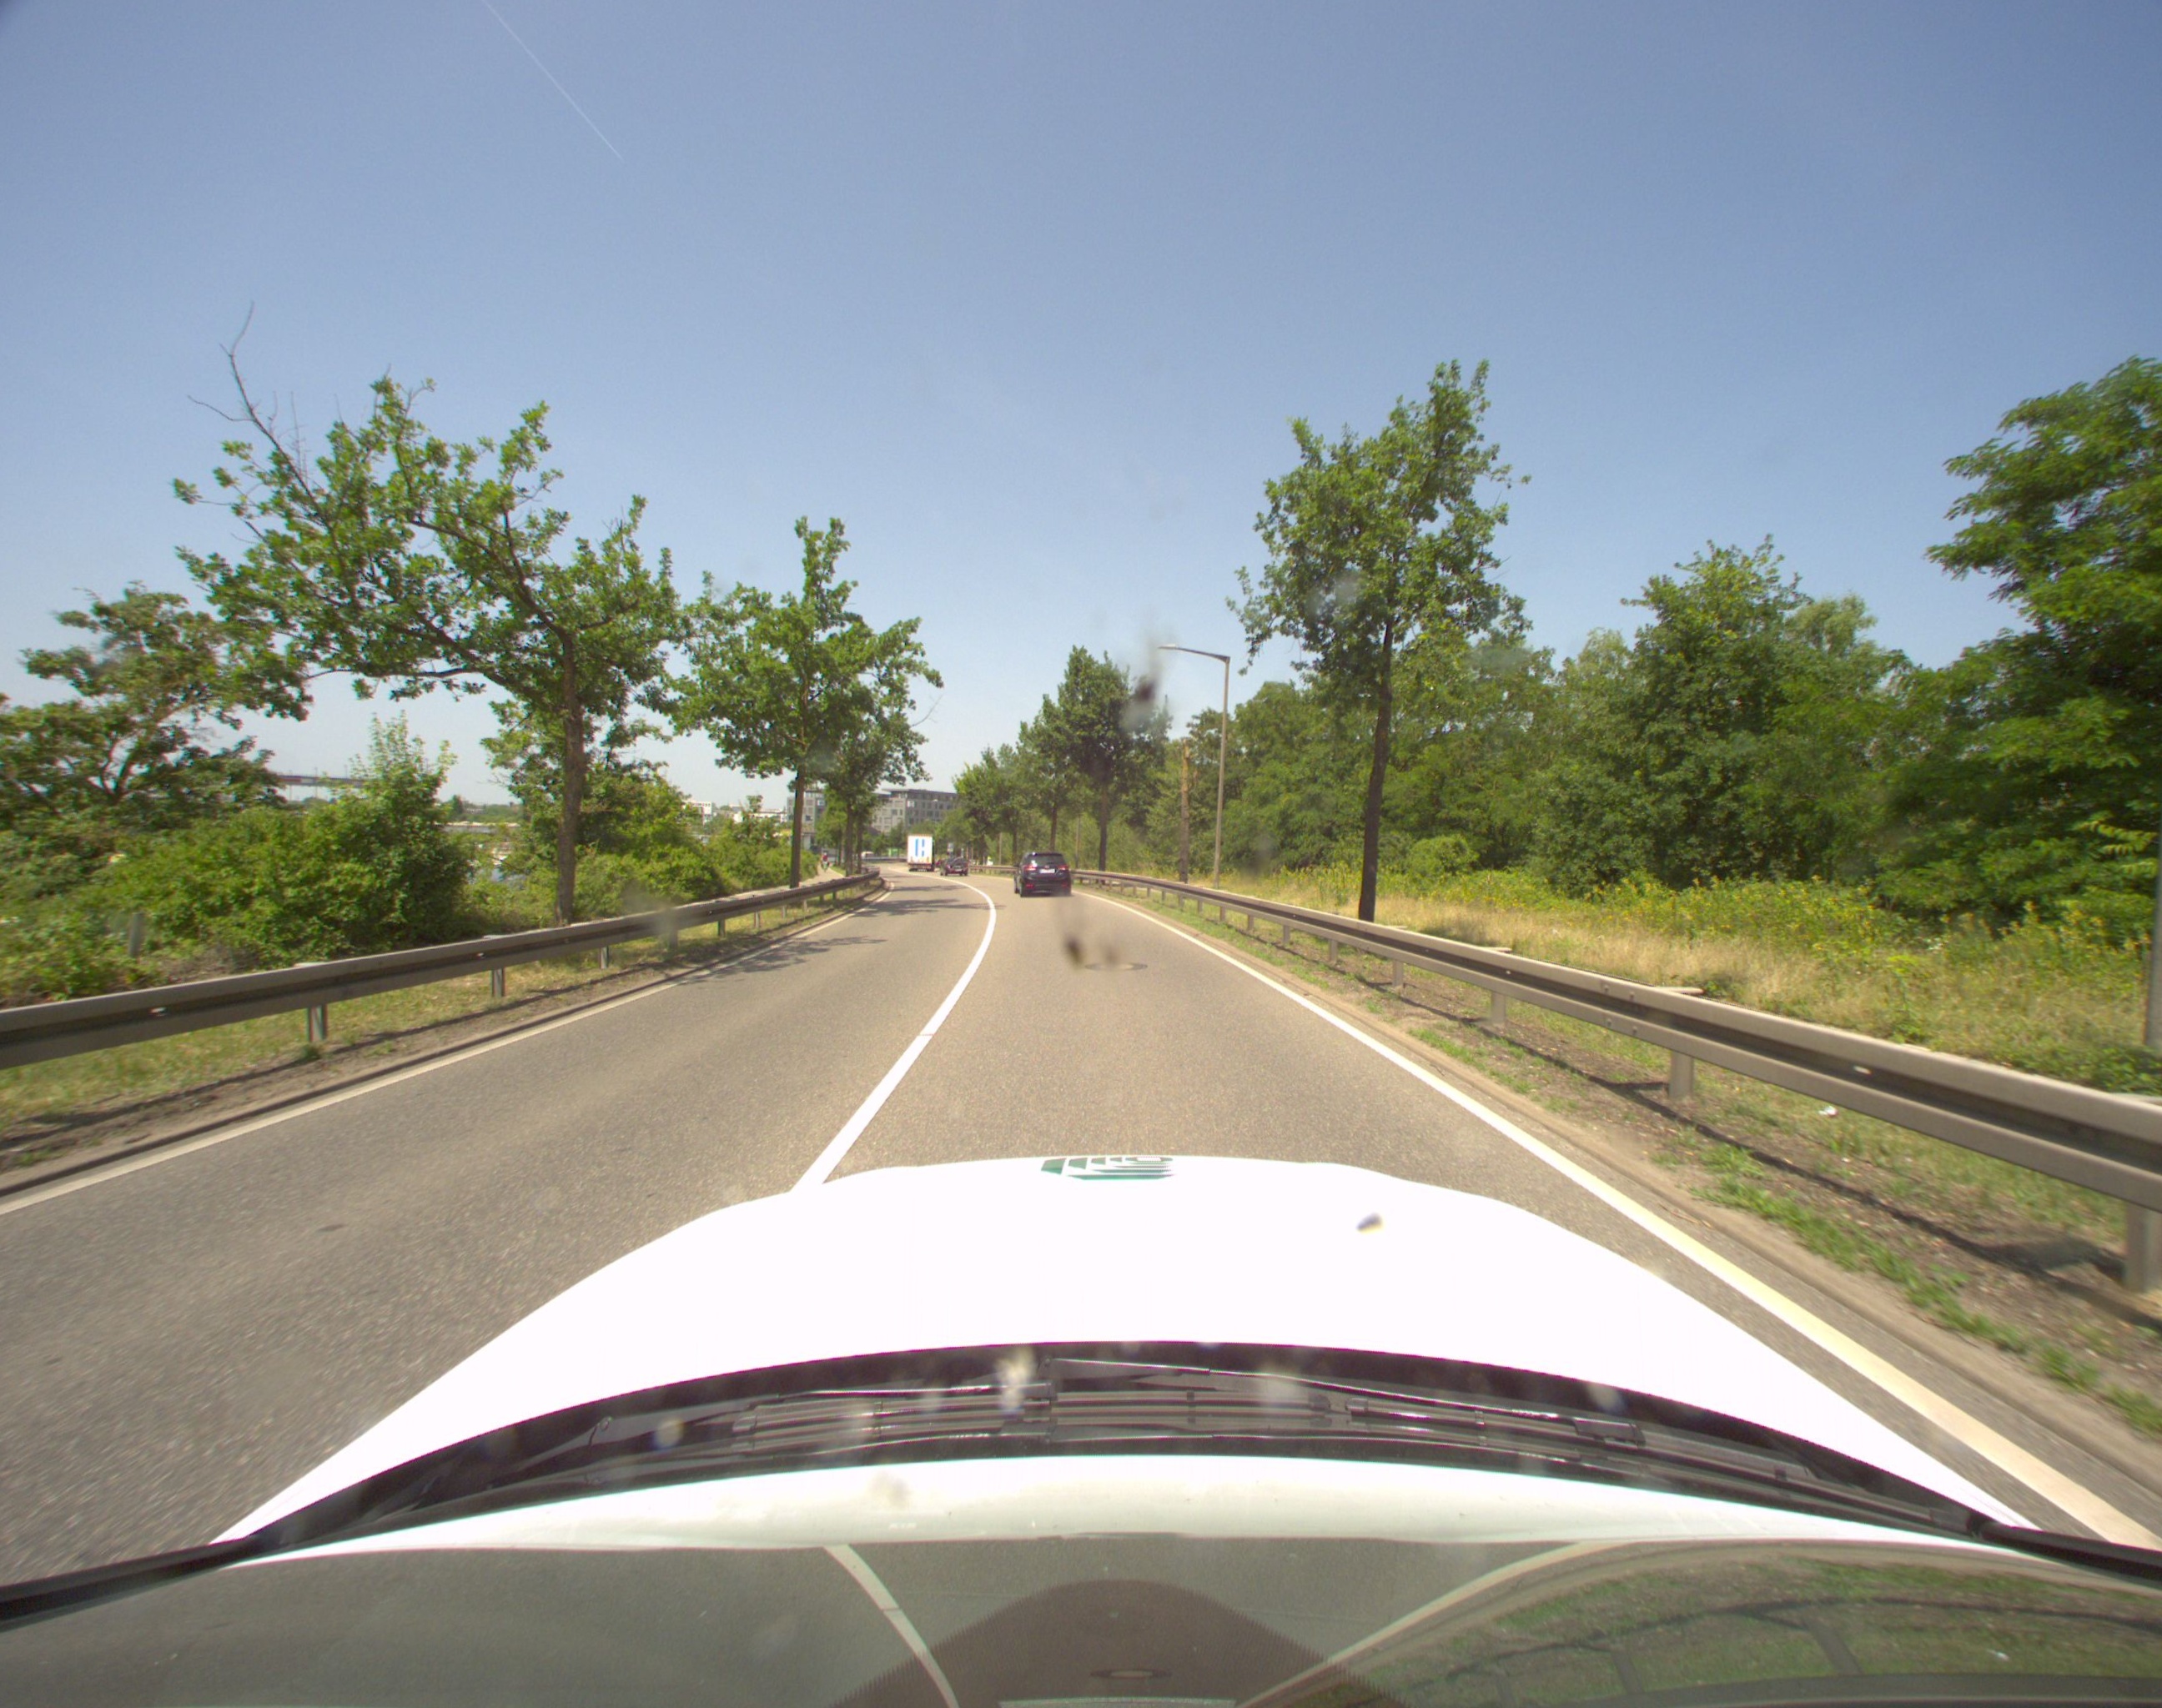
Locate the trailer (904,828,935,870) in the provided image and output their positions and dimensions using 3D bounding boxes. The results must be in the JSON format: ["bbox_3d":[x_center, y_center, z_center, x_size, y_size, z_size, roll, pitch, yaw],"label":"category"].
[{"bbox_3d":[-18.359,-0.632,93.370,3.079,4.368,14.722,1,1,-10],"label":"trailer"}]

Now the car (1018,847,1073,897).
[{"bbox_3d":[-1.224,0.596,29.410,1.761,1.599,4.077,-2,1,0],"label":"car"}]

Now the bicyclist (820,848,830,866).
[{"bbox_3d":[-21.898,0.254,69.693,0.744,1.489,0.751,0,-1,-20],"label":"bicyclist"}]

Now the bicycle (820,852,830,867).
[{"bbox_3d":[-21.909,0.492,69.691,0.736,1.281,2.032,0,-1,-20],"label":"bicycle"}]

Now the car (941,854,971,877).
[{"bbox_3d":[-9.534,0.855,62.010,1.958,1.634,4.262,1,-1,-12],"label":"car"}]
